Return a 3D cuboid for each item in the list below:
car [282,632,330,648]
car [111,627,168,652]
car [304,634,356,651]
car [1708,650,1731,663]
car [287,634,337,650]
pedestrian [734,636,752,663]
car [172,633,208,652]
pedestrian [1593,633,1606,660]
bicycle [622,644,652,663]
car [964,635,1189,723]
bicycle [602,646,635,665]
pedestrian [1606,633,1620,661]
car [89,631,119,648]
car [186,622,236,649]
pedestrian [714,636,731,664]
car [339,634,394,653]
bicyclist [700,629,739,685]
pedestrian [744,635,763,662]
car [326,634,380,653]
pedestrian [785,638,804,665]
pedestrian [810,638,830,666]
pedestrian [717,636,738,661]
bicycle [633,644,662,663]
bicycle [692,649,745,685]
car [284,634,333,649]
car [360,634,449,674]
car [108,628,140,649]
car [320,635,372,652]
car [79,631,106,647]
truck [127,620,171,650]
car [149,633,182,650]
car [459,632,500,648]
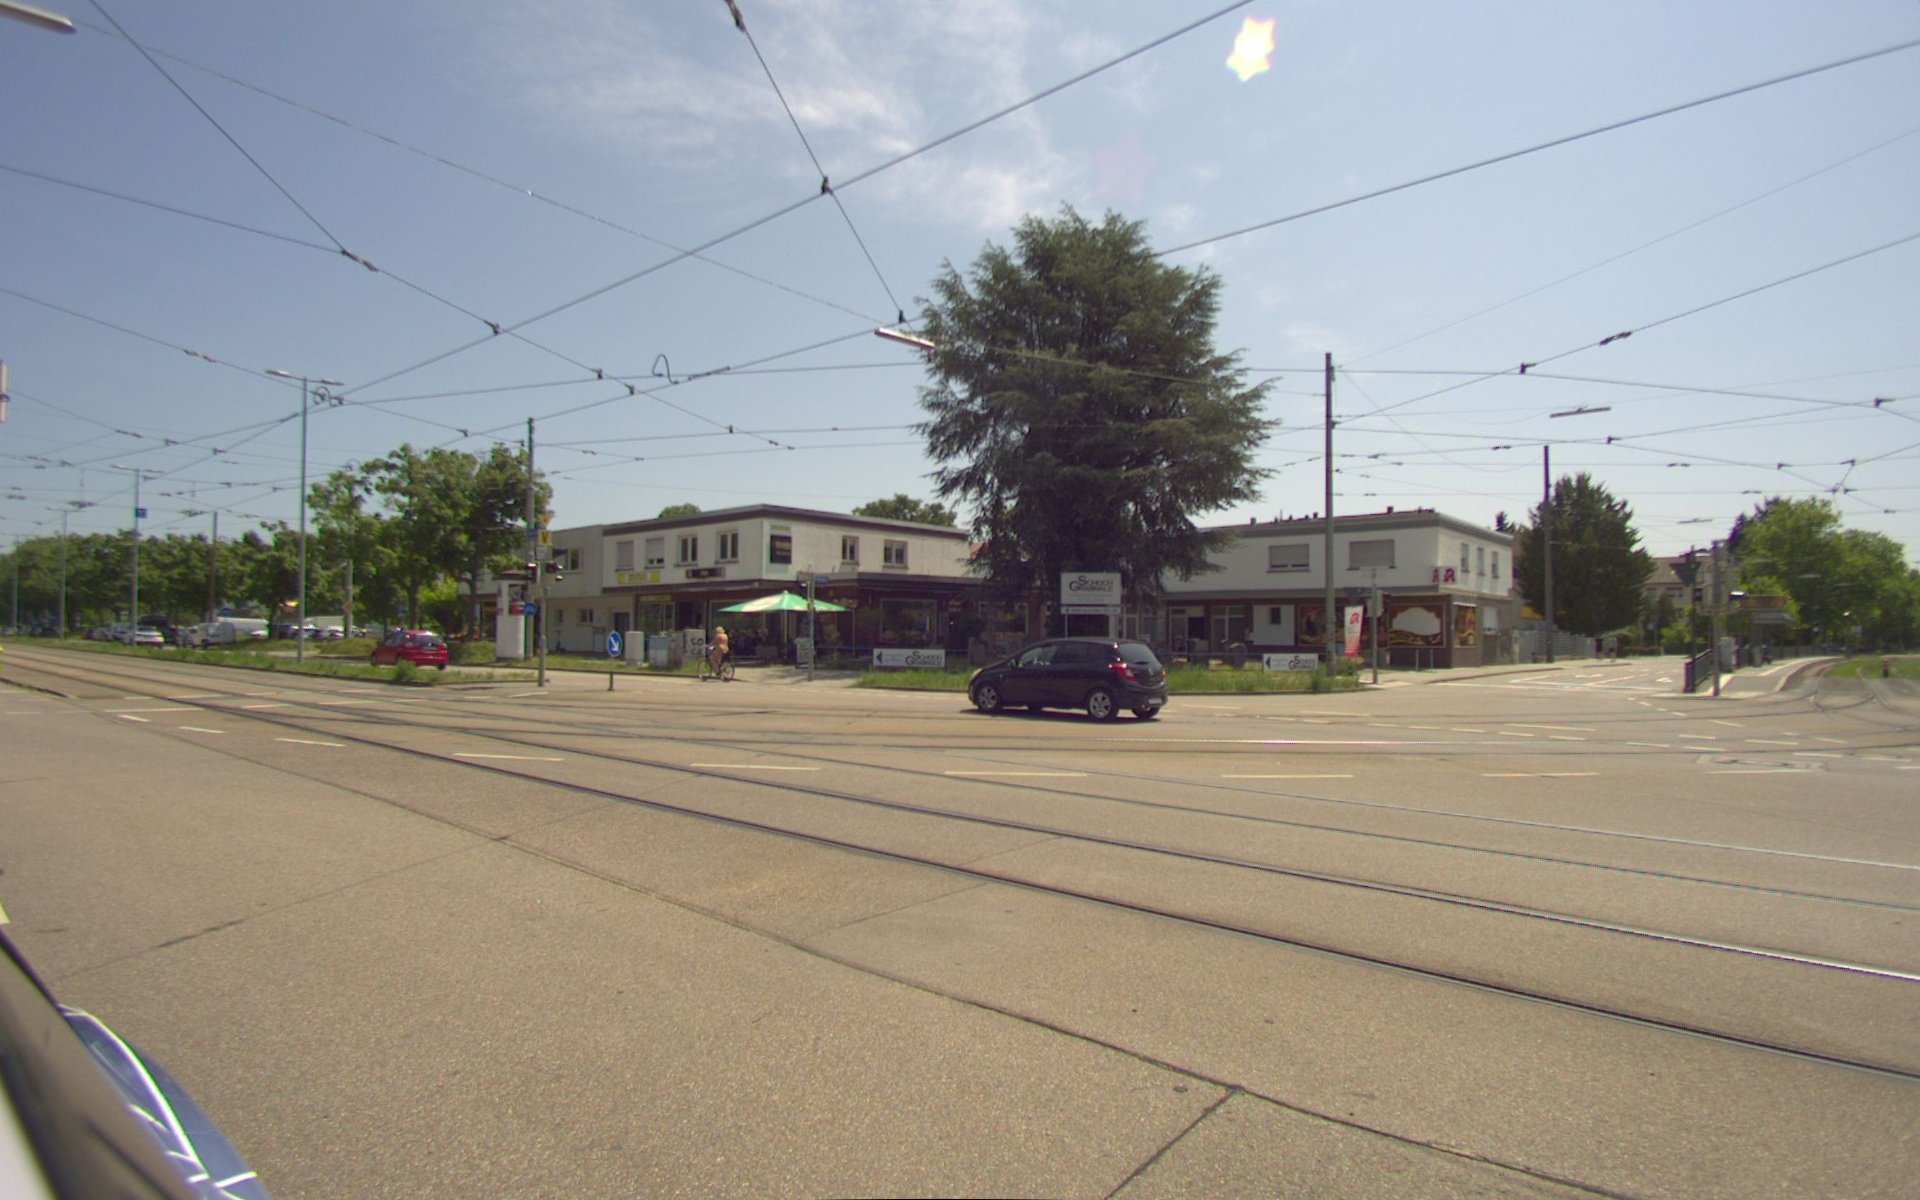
[{"bbox_3d":[-60.827,3.717,94.165,1.600,1.517,3.373,-1,-3,36],"label":"car"},{"bbox_3d":[-54.956,2.651,67.741,4.133,1.564,1.975,-1,-5,38],"label":"car"},{"bbox_3d":[-53.523,3.640,85.976,1.600,1.404,3.373,-1,-3,36],"label":"car"},{"bbox_3d":[73.487,5.468,97.896,1.598,1.236,3.254,-2,-3,41],"label":"car"},{"bbox_3d":[-57.386,3.713,89.648,1.600,1.404,3.373,-1,-3,36],"label":"car"},{"bbox_3d":[-9.965,2.264,46.406,0.674,1.208,0.511,-2,-3,42],"label":"pedestrian"},{"bbox_3d":[-59.659,3.263,78.371,3.569,1.397,1.652,-2,-3,44],"label":"car"},{"bbox_3d":[44.361,3.225,70.210,0.679,1.917,0.640,-2,-3,41],"label":"pedestrian"},{"bbox_3d":[-15.694,2.595,49.131,1.787,0.854,0.522,-1,-1,42],"label":"bicycle"},{"bbox_3d":[2.080,1.378,18.665,3.862,1.449,1.692,-2,-3,40],"label":"car"},{"bbox_3d":[-16.234,2.623,48.116,1.958,0.854,0.595,-1,-1,42],"label":"bicycle"},{"bbox_3d":[44.917,3.214,69.597,0.679,1.917,0.640,-2,-3,41],"label":"pedestrian"},{"bbox_3d":[-89.156,4.122,105.404,4.200,1.807,1.660,-2,-3,41],"label":"car"},{"bbox_3d":[-54.855,2.604,74.105,4.660,1.898,1.972,-2,-3,42],"label":"car"},{"bbox_3d":[-10.864,2.275,46.260,0.491,1.248,0.568,-2,-3,41],"label":"pedestrian"},{"bbox_3d":[-47.909,3.479,81.711,1.790,1.502,3.373,-1,-3,36],"label":"car"},{"bbox_3d":[-7.860,1.860,33.076,1.136,1.779,0.687,-3,-4,41],"label":"bicyclist"},{"bbox_3d":[-9.571,2.236,46.917,0.674,1.218,0.511,-2,-3,42],"label":"pedestrian"},{"bbox_3d":[-49.597,3.520,82.724,1.596,1.502,3.373,-1,-3,36],"label":"car"},{"bbox_3d":[-7.068,2.179,43.223,0.674,1.136,0.511,-2,-3,42],"label":"pedestrian"},{"bbox_3d":[-5.821,2.158,42.123,0.674,1.136,0.511,-2,-3,42],"label":"pedestrian"},{"bbox_3d":[-10.822,2.267,47.142,0.810,1.136,0.558,-2,-3,42],"label":"pedestrian"},{"bbox_3d":[-15.316,2.624,49.561,1.787,0.854,0.522,-1,-1,42],"label":"bicycle"},{"bbox_3d":[-7.925,2.178,33.174,1.930,1.157,0.687,-3,-4,41],"label":"bicycle"},{"bbox_3d":[-59.211,3.778,91.960,1.600,1.404,3.373,-1,-3,36],"label":"car"},{"bbox_3d":[-21.674,2.071,39.463,3.823,1.495,1.609,-1,-3,37],"label":"car"},{"bbox_3d":[-81.309,3.764,98.421,4.507,1.989,1.660,-2,-3,41],"label":"car"},{"bbox_3d":[-51.465,3.645,84.899,1.600,1.404,3.373,-1,-3,36],"label":"car"},{"bbox_3d":[-94.117,4.191,109.785,3.821,1.716,1.660,-2,-3,41],"label":"car"},{"bbox_3d":[-71.577,3.078,89.307,4.928,2.561,2.196,-2,-3,42],"label":"truck"},{"bbox_3d":[-66.864,3.492,85.141,3.670,1.397,1.652,-2,-3,44],"label":"car"},{"bbox_3d":[-47.748,3.988,100.578,1.505,1.573,3.313,-1,-3,38],"label":"car"}]
